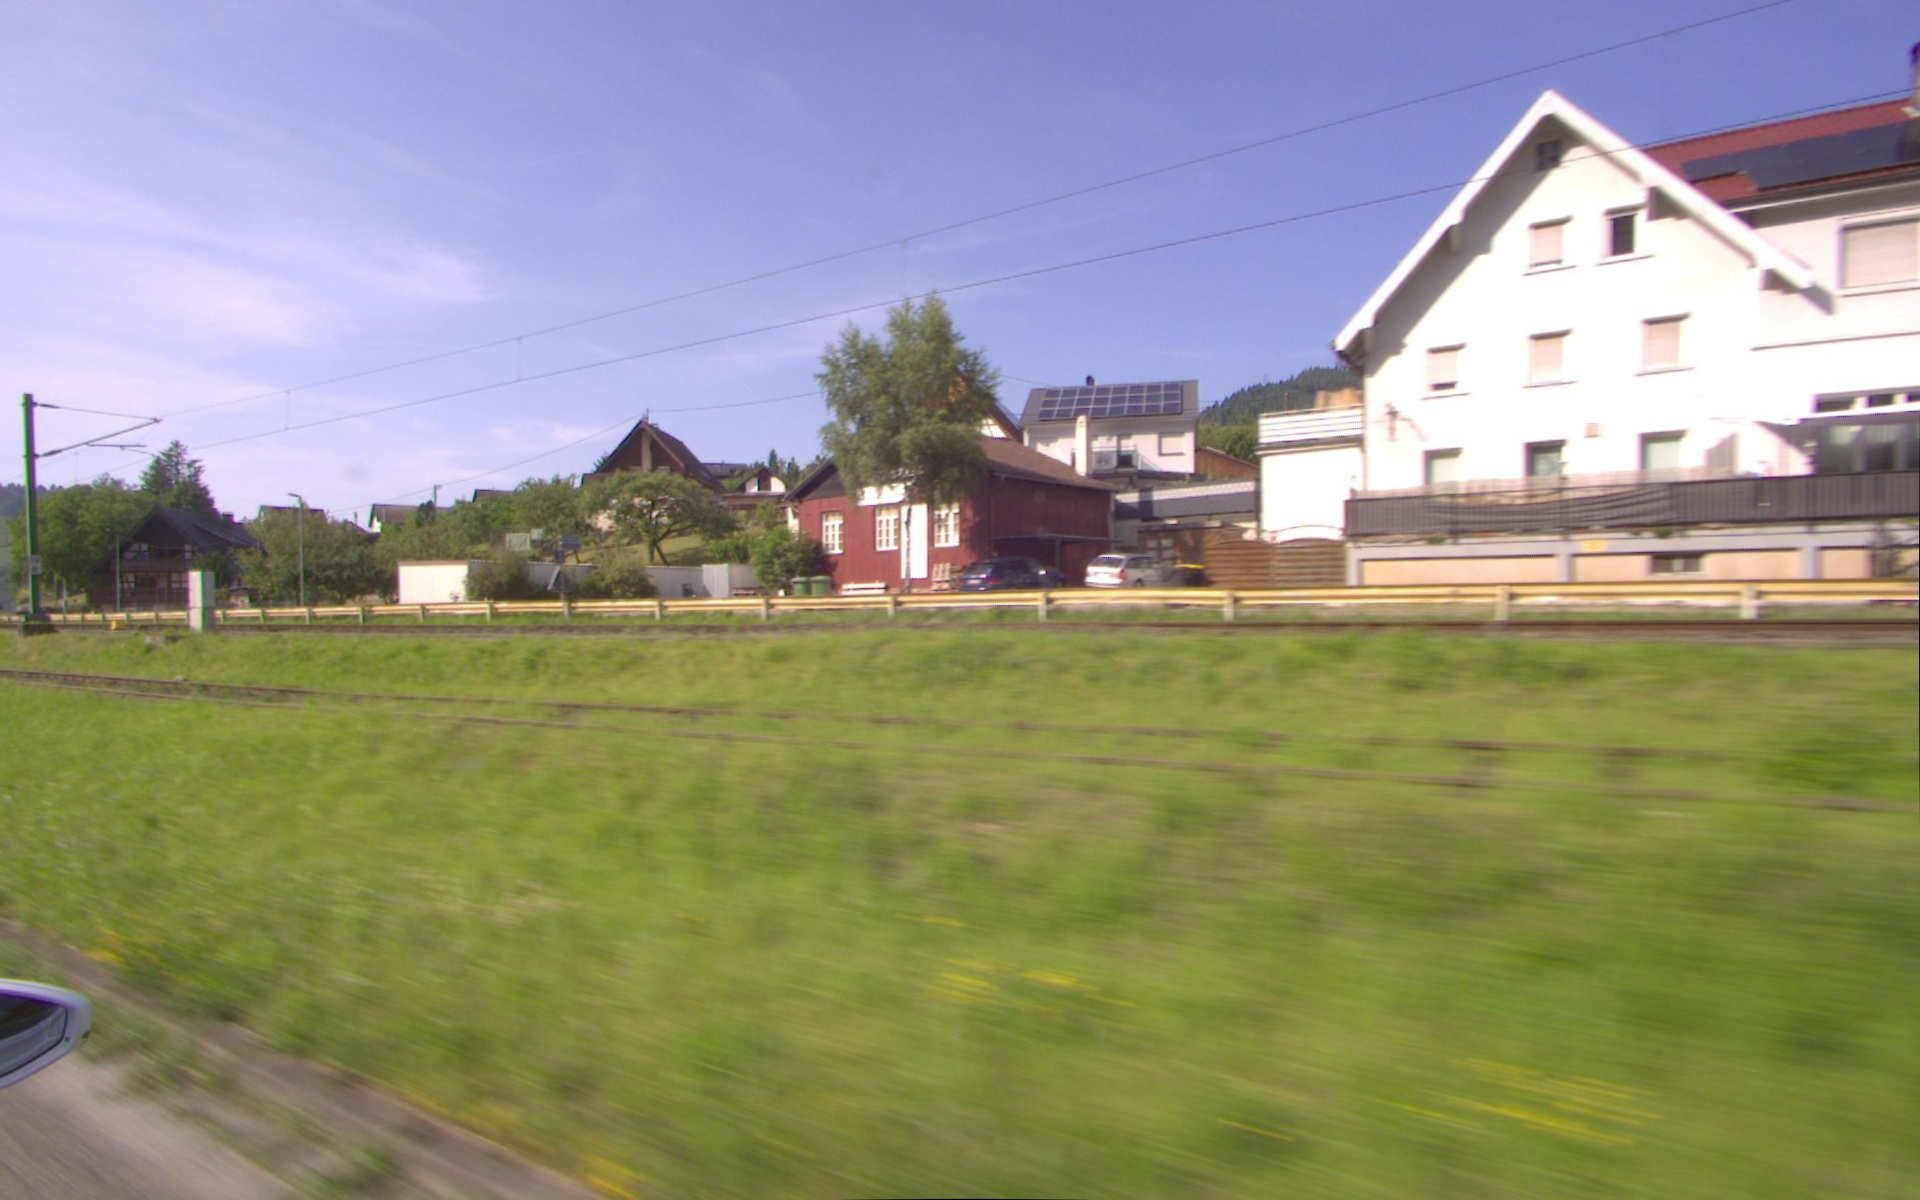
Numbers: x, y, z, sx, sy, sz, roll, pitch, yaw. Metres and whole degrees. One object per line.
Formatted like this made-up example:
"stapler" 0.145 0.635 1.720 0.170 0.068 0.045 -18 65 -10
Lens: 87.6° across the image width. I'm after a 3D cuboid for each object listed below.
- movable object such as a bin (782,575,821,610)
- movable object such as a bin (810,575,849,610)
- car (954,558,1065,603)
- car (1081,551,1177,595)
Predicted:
"movable object such as a bin" -5.033 -0.219 31.775 0.899 1.064 0.805 0 -2 35
"movable object such as a bin" -4.059 -0.228 31.129 0.899 1.064 0.805 0 -2 35
"car" 1.719 -0.681 33.487 1.802 1.395 3.971 0 2 37
"car" 5.969 -0.957 34.964 1.800 1.395 3.973 0 3 34
